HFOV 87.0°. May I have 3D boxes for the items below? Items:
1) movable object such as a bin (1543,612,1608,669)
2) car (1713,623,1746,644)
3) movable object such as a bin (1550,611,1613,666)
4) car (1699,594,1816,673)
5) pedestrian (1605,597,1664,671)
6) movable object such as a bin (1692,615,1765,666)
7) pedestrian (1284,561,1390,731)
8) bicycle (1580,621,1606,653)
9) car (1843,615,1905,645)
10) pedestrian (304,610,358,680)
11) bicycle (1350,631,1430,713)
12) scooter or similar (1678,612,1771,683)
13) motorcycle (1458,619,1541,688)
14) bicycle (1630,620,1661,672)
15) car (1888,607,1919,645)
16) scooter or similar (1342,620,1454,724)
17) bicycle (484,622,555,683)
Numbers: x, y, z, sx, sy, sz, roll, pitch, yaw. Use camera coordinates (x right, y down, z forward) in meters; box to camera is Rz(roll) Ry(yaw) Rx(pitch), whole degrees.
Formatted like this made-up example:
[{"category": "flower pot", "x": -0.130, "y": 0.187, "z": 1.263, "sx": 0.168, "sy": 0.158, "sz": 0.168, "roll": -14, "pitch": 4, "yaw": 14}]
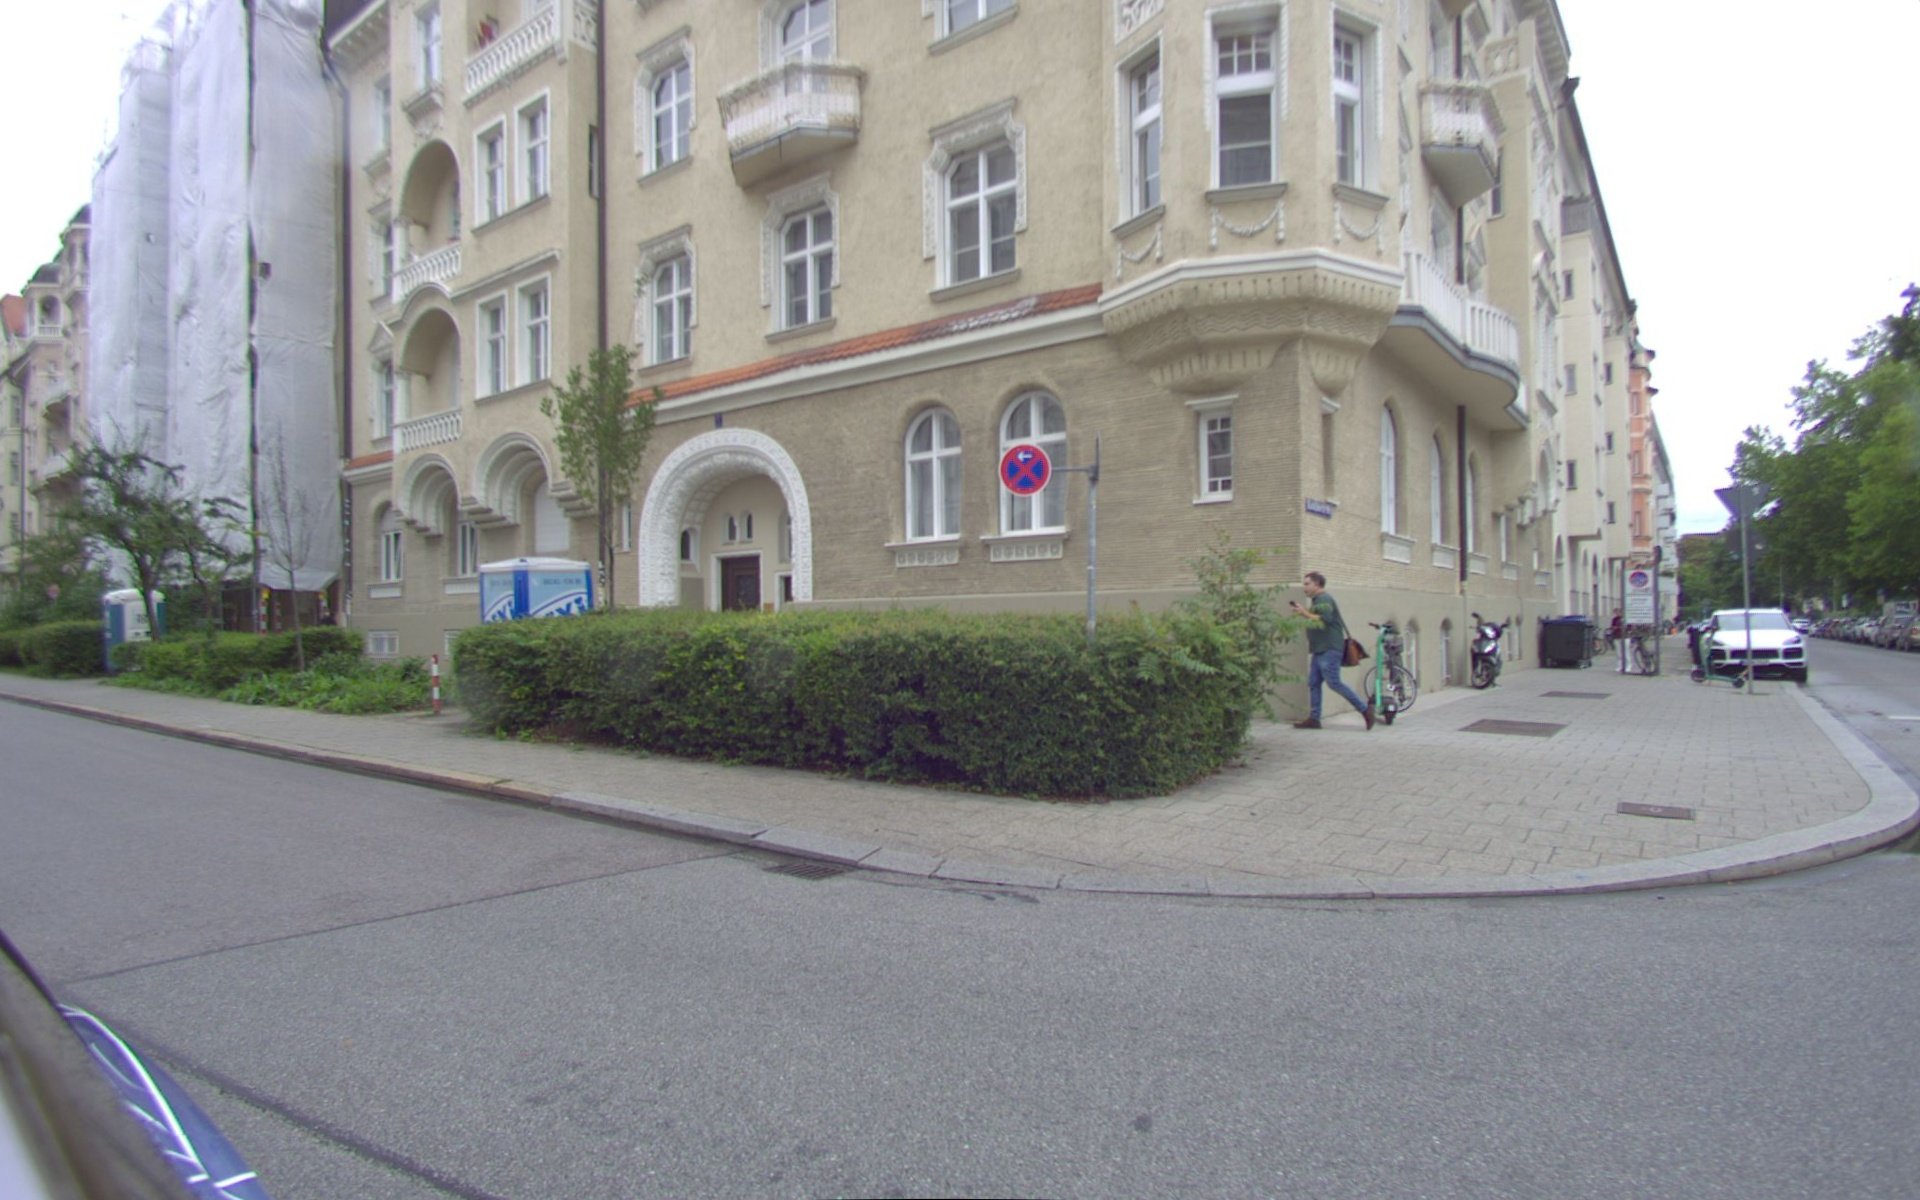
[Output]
[{"category": "movable object such as a bin", "x": 16.523, "y": 1.076, "z": 27.178, "sx": 1.343, "sy": 1.468, "sz": 1.148, "roll": -2, "pitch": -2, "yaw": 37}, {"category": "car", "x": 62.575, "y": 2.688, "z": 82.313, "sx": 1.996, "sy": 1.608, "sz": 4.160, "roll": -1, "pitch": -1, "yaw": 36}, {"category": "movable object such as a bin", "x": 17.323, "y": 1.068, "z": 28.207, "sx": 1.343, "sy": 1.468, "sz": 1.280, "roll": -2, "pitch": -2, "yaw": 37}, {"category": "car", "x": 19.146, "y": 0.761, "z": 24.478, "sx": 1.996, "sy": 1.704, "sz": 4.751, "roll": -1, "pitch": -1, "yaw": 36}, {"category": "pedestrian", "x": 17.181, "y": 0.869, "z": 25.780, "sx": 1.131, "sy": 1.818, "sz": 1.255, "roll": -2, "pitch": -2, "yaw": 38}, {"category": "movable object such as a bin", "x": 21.337, "y": 1.096, "z": 28.113, "sx": 1.560, "sy": 1.360, "sz": 1.518, "roll": -2, "pitch": -2, "yaw": 38}, {"category": "pedestrian", "x": 4.283, "y": 0.510, "z": 11.488, "sx": 1.050, "sy": 1.824, "sz": 0.884, "roll": -1, "pitch": -2, "yaw": 23}, {"category": "bicycle", "x": 22.186, "y": 1.279, "z": 35.458, "sx": 0.623, "sy": 1.054, "sz": 2.188, "roll": -2, "pitch": -2, "yaw": 36}, {"category": "car", "x": 48.158, "y": 1.551, "z": 53.384, "sx": 1.771, "sy": 1.530, "sz": 3.990, "roll": -1, "pitch": -1, "yaw": 33}, {"category": "pedestrian", "x": -16.298, "y": 1.151, "z": 26.220, "sx": 0.946, "sy": 1.765, "sz": 0.905, "roll": -2, "pitch": -2, "yaw": 38}, {"category": "bicycle", "x": 5.912, "y": 0.951, "z": 13.877, "sx": 0.559, "sy": 1.030, "sz": 1.859, "roll": -2, "pitch": -2, "yaw": 37}, {"category": "scooter or similar", "x": 15.777, "y": 0.960, "z": 20.917, "sx": 0.697, "sy": 1.405, "sz": 1.359, "roll": 0, "pitch": -1, "yaw": -13}, {"category": "motorcycle", "x": 10.110, "y": 0.964, "z": 18.917, "sx": 1.005, "sy": 1.189, "sz": 2.532, "roll": -2, "pitch": -2, "yaw": 36}, {"category": "bicycle", "x": 16.160, "y": 1.065, "z": 23.850, "sx": 0.549, "sy": 1.158, "sz": 1.823, "roll": -2, "pitch": -2, "yaw": 35}, {"category": "car", "x": 39.895, "y": 1.051, "z": 41.664, "sx": 1.771, "sy": 1.530, "sz": 3.990, "roll": -1, "pitch": -1, "yaw": 33}, {"category": "scooter or similar", "x": 5.263, "y": 0.835, "z": 12.249, "sx": 0.520, "sy": 1.175, "sz": 1.359, "roll": 0, "pitch": -1, "yaw": -13}, {"category": "bicycle", "x": -9.683, "y": 1.145, "z": 22.238, "sx": 1.701, "sy": 1.285, "sz": 0.737, "roll": -2, "pitch": -2, "yaw": 39}]
